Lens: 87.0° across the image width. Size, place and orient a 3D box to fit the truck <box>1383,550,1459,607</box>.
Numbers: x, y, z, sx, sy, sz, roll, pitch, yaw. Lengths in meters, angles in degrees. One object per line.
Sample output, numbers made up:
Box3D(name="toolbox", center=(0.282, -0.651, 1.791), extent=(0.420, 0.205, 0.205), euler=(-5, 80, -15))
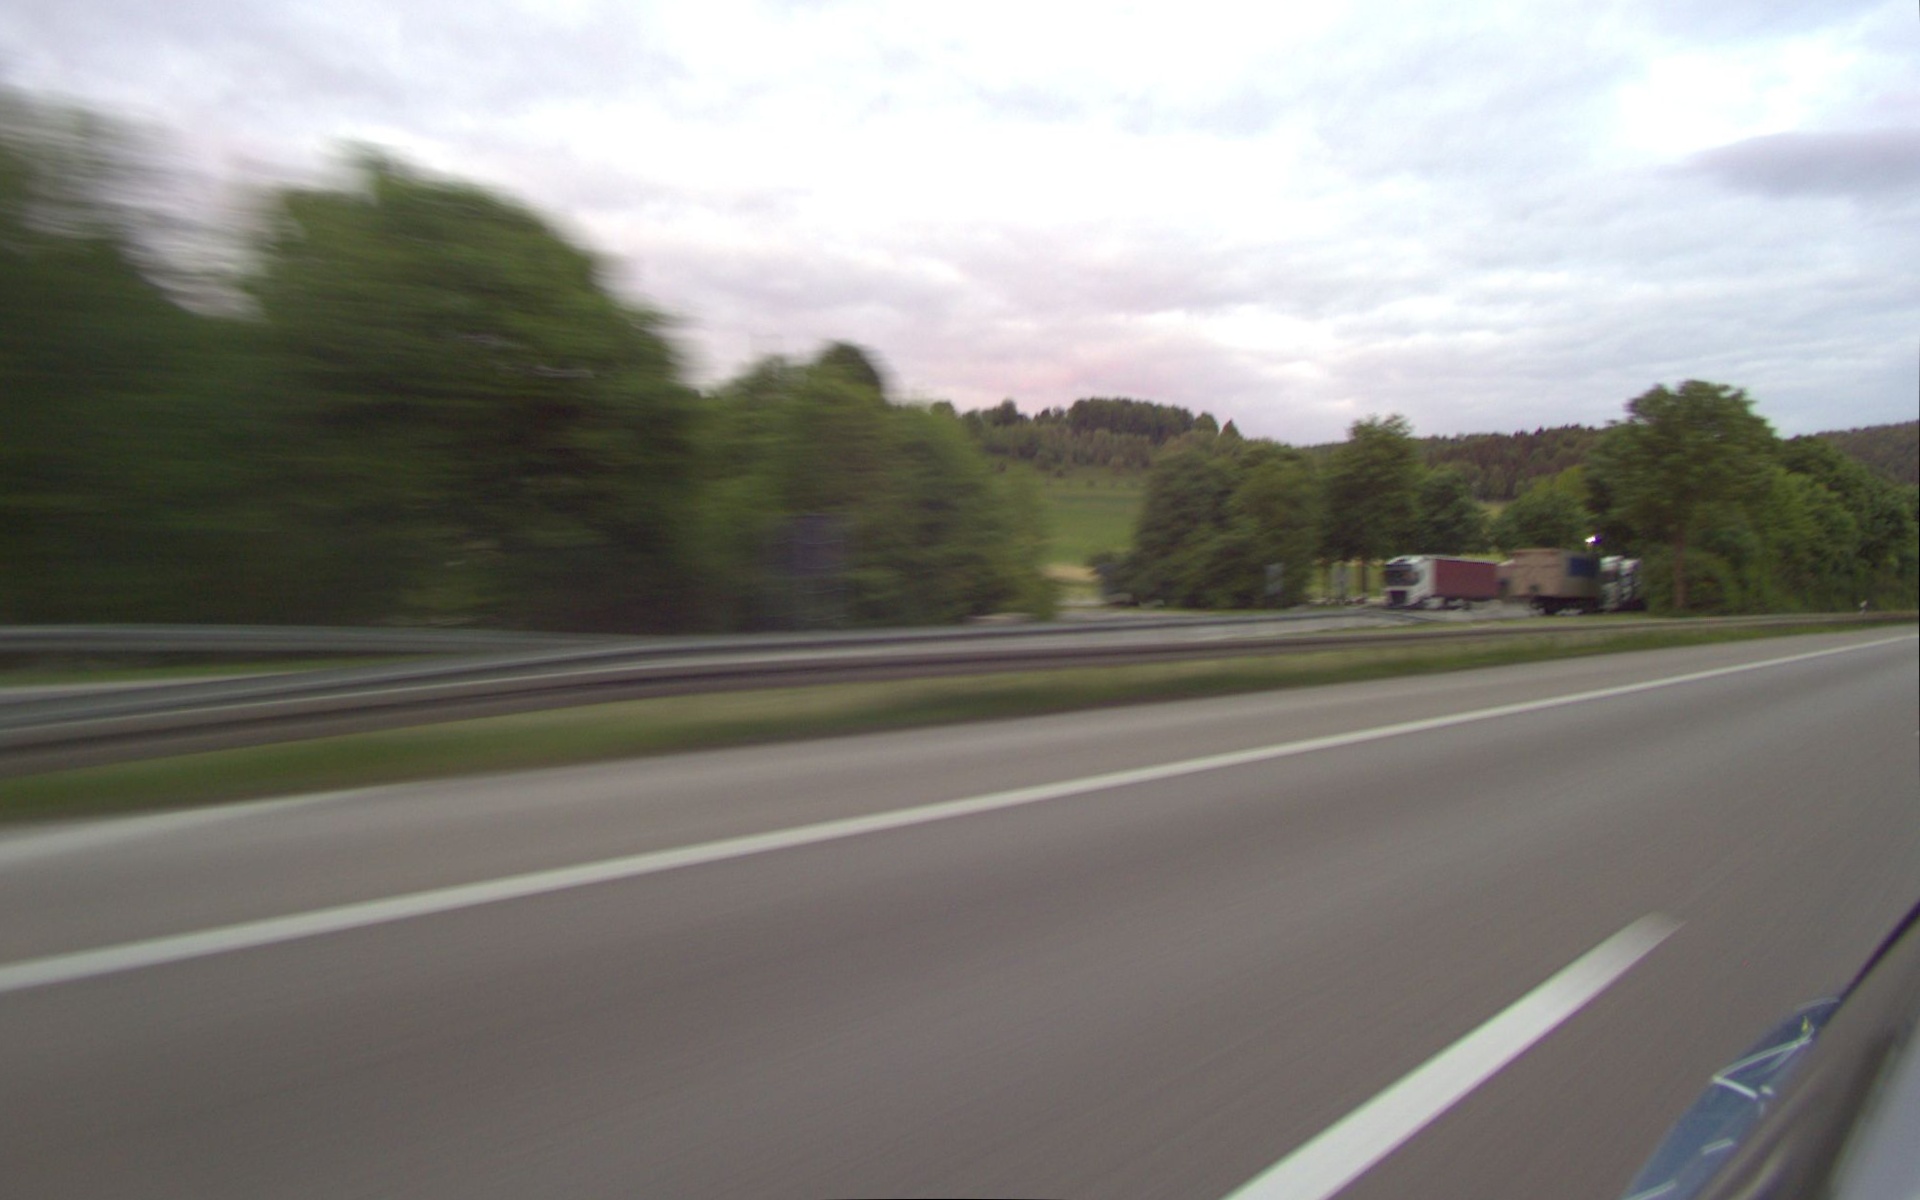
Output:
Box3D(name="truck", center=(33.847, -1.562, 74.268), extent=(6.277, 3.964, 2.842), euler=(0, 2, -43))

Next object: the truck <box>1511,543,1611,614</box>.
Box3D(name="truck", center=(37.075, -1.299, 62.169), extent=(2.838, 3.964, 11.804), euler=(2, 2, 43))

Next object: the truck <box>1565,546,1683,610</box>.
Box3D(name="truck", center=(50.485, -1.612, 76.442), extent=(3.776, 4.281, 19.214), euler=(2, 2, 44))

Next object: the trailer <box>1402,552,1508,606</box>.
Box3D(name="trailer", center=(38.735, -1.604, 78.845), extent=(13.348, 3.964, 2.842), euler=(0, 2, -43))
